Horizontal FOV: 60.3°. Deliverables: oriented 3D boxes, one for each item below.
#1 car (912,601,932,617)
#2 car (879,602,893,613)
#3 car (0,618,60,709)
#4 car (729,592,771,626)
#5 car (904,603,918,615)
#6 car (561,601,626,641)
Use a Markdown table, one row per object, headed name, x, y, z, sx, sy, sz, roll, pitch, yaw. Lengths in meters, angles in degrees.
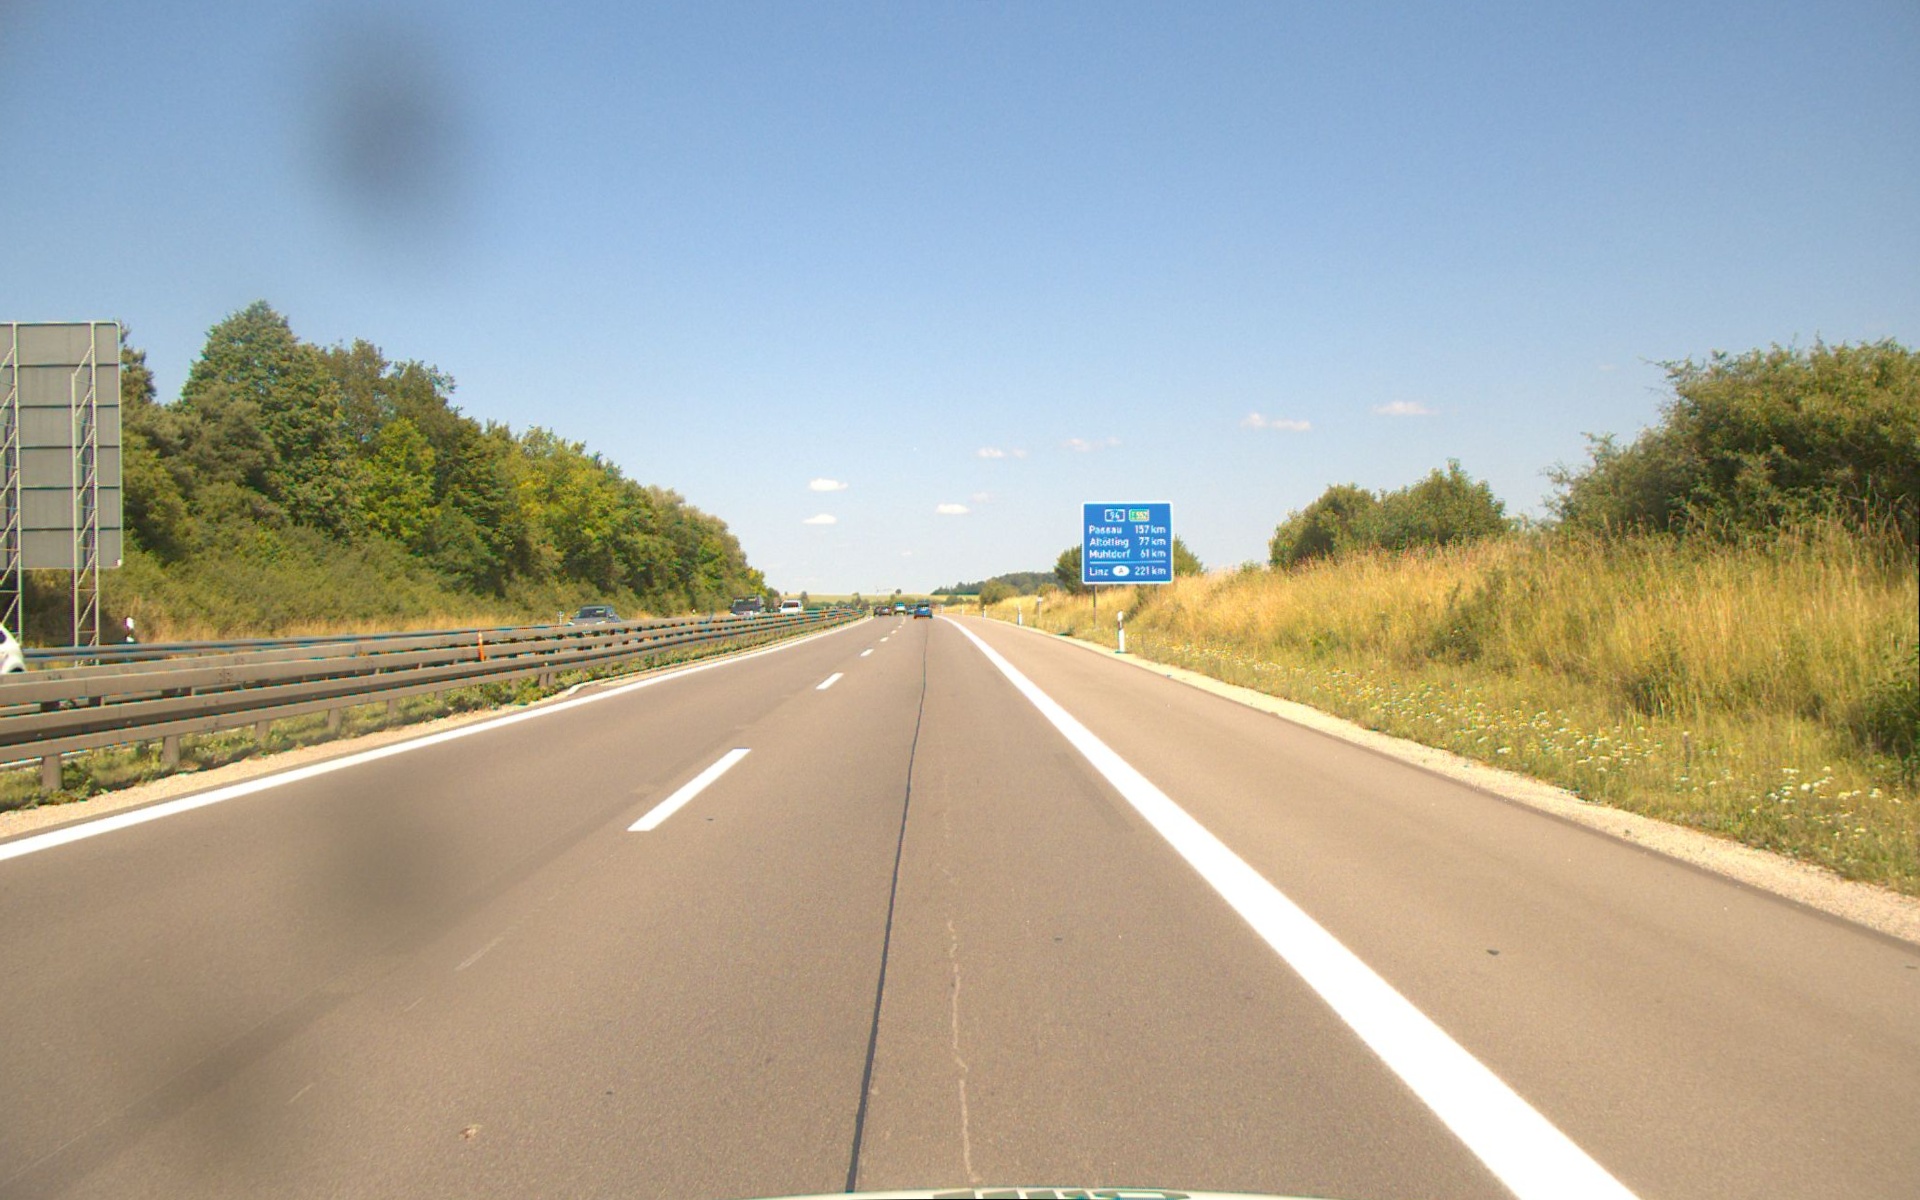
| name | x | y | z | sx | sy | sz | roll | pitch | yaw |
| --- | --- | --- | --- | --- | --- | --- | --- | --- | --- |
| car | -3.525 | 0.848 | 154.528 | 1.641 | 1.478 | 3.592 | -2 | 0 | 1 |
| car | -10.503 | 1.084 | 233.513 | 1.792 | 1.478 | 3.591 | -2 | 0 | 0 |
| car | -15.420 | 0.998 | 24.861 | 1.491 | 1.376 | 4.231 | -1 | 0 | -1 |
| car | -12.993 | 0.539 | 102.585 | 1.953 | 2.007 | 5.038 | -1 | 0 | -1 |
| car | -6.474 | 1.150 | 218.606 | 1.792 | 1.478 | 3.591 | -2 | 0 | 0 |
| car | -16.352 | 0.915 | 74.059 | 1.953 | 1.640 | 4.486 | -1 | 0 | -1 |
